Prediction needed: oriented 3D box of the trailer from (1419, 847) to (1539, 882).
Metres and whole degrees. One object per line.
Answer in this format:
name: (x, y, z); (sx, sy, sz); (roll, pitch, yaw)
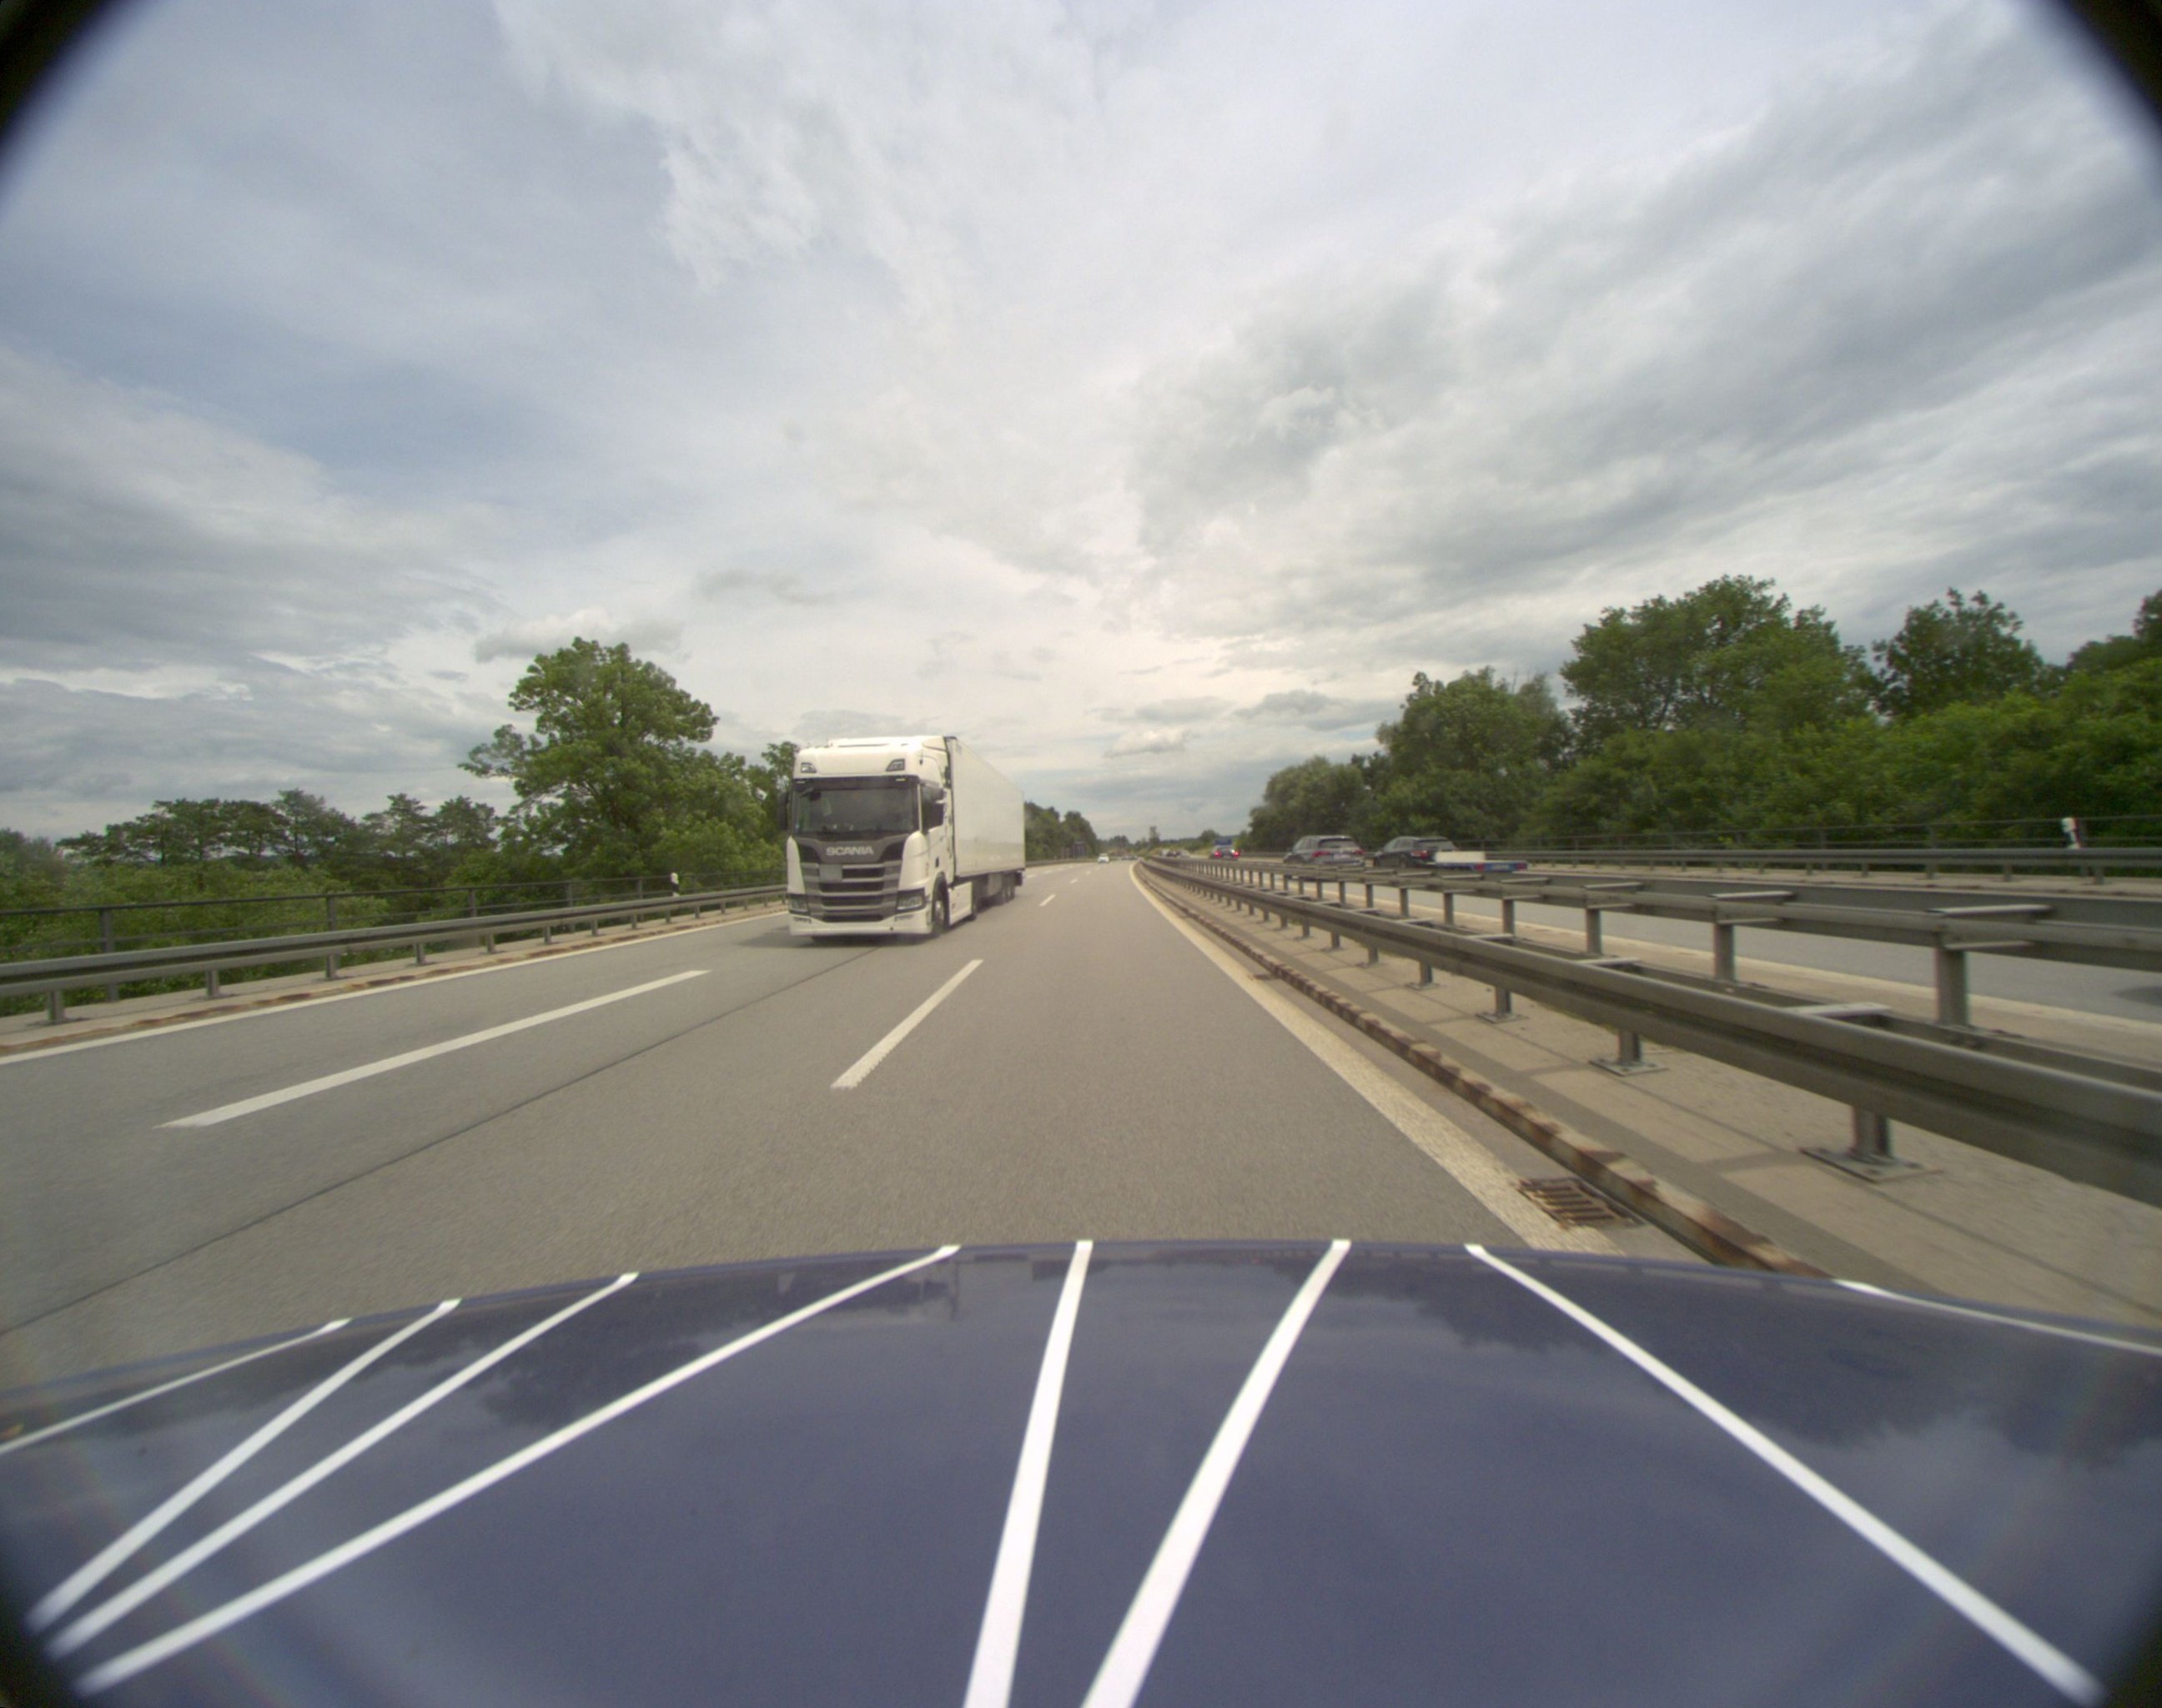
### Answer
trailer: (12.201, 0.302, 23.589); (1.672, 0.946, 4.000); (-2, 0, 1)

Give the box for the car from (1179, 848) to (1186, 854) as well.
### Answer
car: (26.846, -0.683, 200.665); (1.733, 1.550, 4.333); (-2, 0, 6)

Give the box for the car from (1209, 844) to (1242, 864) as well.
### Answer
car: (10.398, 0.014, 55.056); (1.655, 1.359, 4.148); (-2, 0, 1)

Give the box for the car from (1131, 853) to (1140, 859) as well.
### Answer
car: (12.822, 0.430, 177.896); (1.775, 1.474, 4.697); (-2, 0, 1)

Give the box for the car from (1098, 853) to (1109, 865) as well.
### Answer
car: (3.799, 0.863, 129.025); (1.774, 1.813, 4.166); (-2, 0, 3)

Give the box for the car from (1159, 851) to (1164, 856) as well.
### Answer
car: (28.005, -0.031, 264.306); (1.729, 1.640, 4.225); (-3, -1, 6)

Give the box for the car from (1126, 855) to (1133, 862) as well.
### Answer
car: (13.263, 1.171, 208.934); (1.649, 1.685, 4.738); (-2, 0, 2)

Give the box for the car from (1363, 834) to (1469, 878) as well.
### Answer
car: (12.234, 0.055, 28.111); (1.742, 1.402, 4.942); (-2, 0, 0)

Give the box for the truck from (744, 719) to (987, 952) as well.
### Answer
truck: (-4.045, -0.309, 15.936); (3.069, 3.869, 6.001); (-2, 0, 2)

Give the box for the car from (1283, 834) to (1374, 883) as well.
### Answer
car: (8.029, 0.119, 24.986); (1.696, 1.428, 4.110); (-2, 0, 1)

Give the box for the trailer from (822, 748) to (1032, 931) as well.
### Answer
trailer: (-3.767, -0.305, 23.335); (3.069, 3.868, 13.792); (-2, 0, 2)

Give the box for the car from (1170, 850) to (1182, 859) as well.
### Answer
car: (16.309, 0.088, 130.915); (1.689, 1.368, 4.359); (-2, 0, 2)

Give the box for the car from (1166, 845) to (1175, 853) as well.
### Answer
car: (22.520, -1.140, 191.596); (1.776, 1.899, 4.715); (-4, 0, 3)

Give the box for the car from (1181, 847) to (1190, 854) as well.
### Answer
car: (23.381, -0.829, 170.004); (1.849, 1.430, 3.937); (-2, 0, 4)
